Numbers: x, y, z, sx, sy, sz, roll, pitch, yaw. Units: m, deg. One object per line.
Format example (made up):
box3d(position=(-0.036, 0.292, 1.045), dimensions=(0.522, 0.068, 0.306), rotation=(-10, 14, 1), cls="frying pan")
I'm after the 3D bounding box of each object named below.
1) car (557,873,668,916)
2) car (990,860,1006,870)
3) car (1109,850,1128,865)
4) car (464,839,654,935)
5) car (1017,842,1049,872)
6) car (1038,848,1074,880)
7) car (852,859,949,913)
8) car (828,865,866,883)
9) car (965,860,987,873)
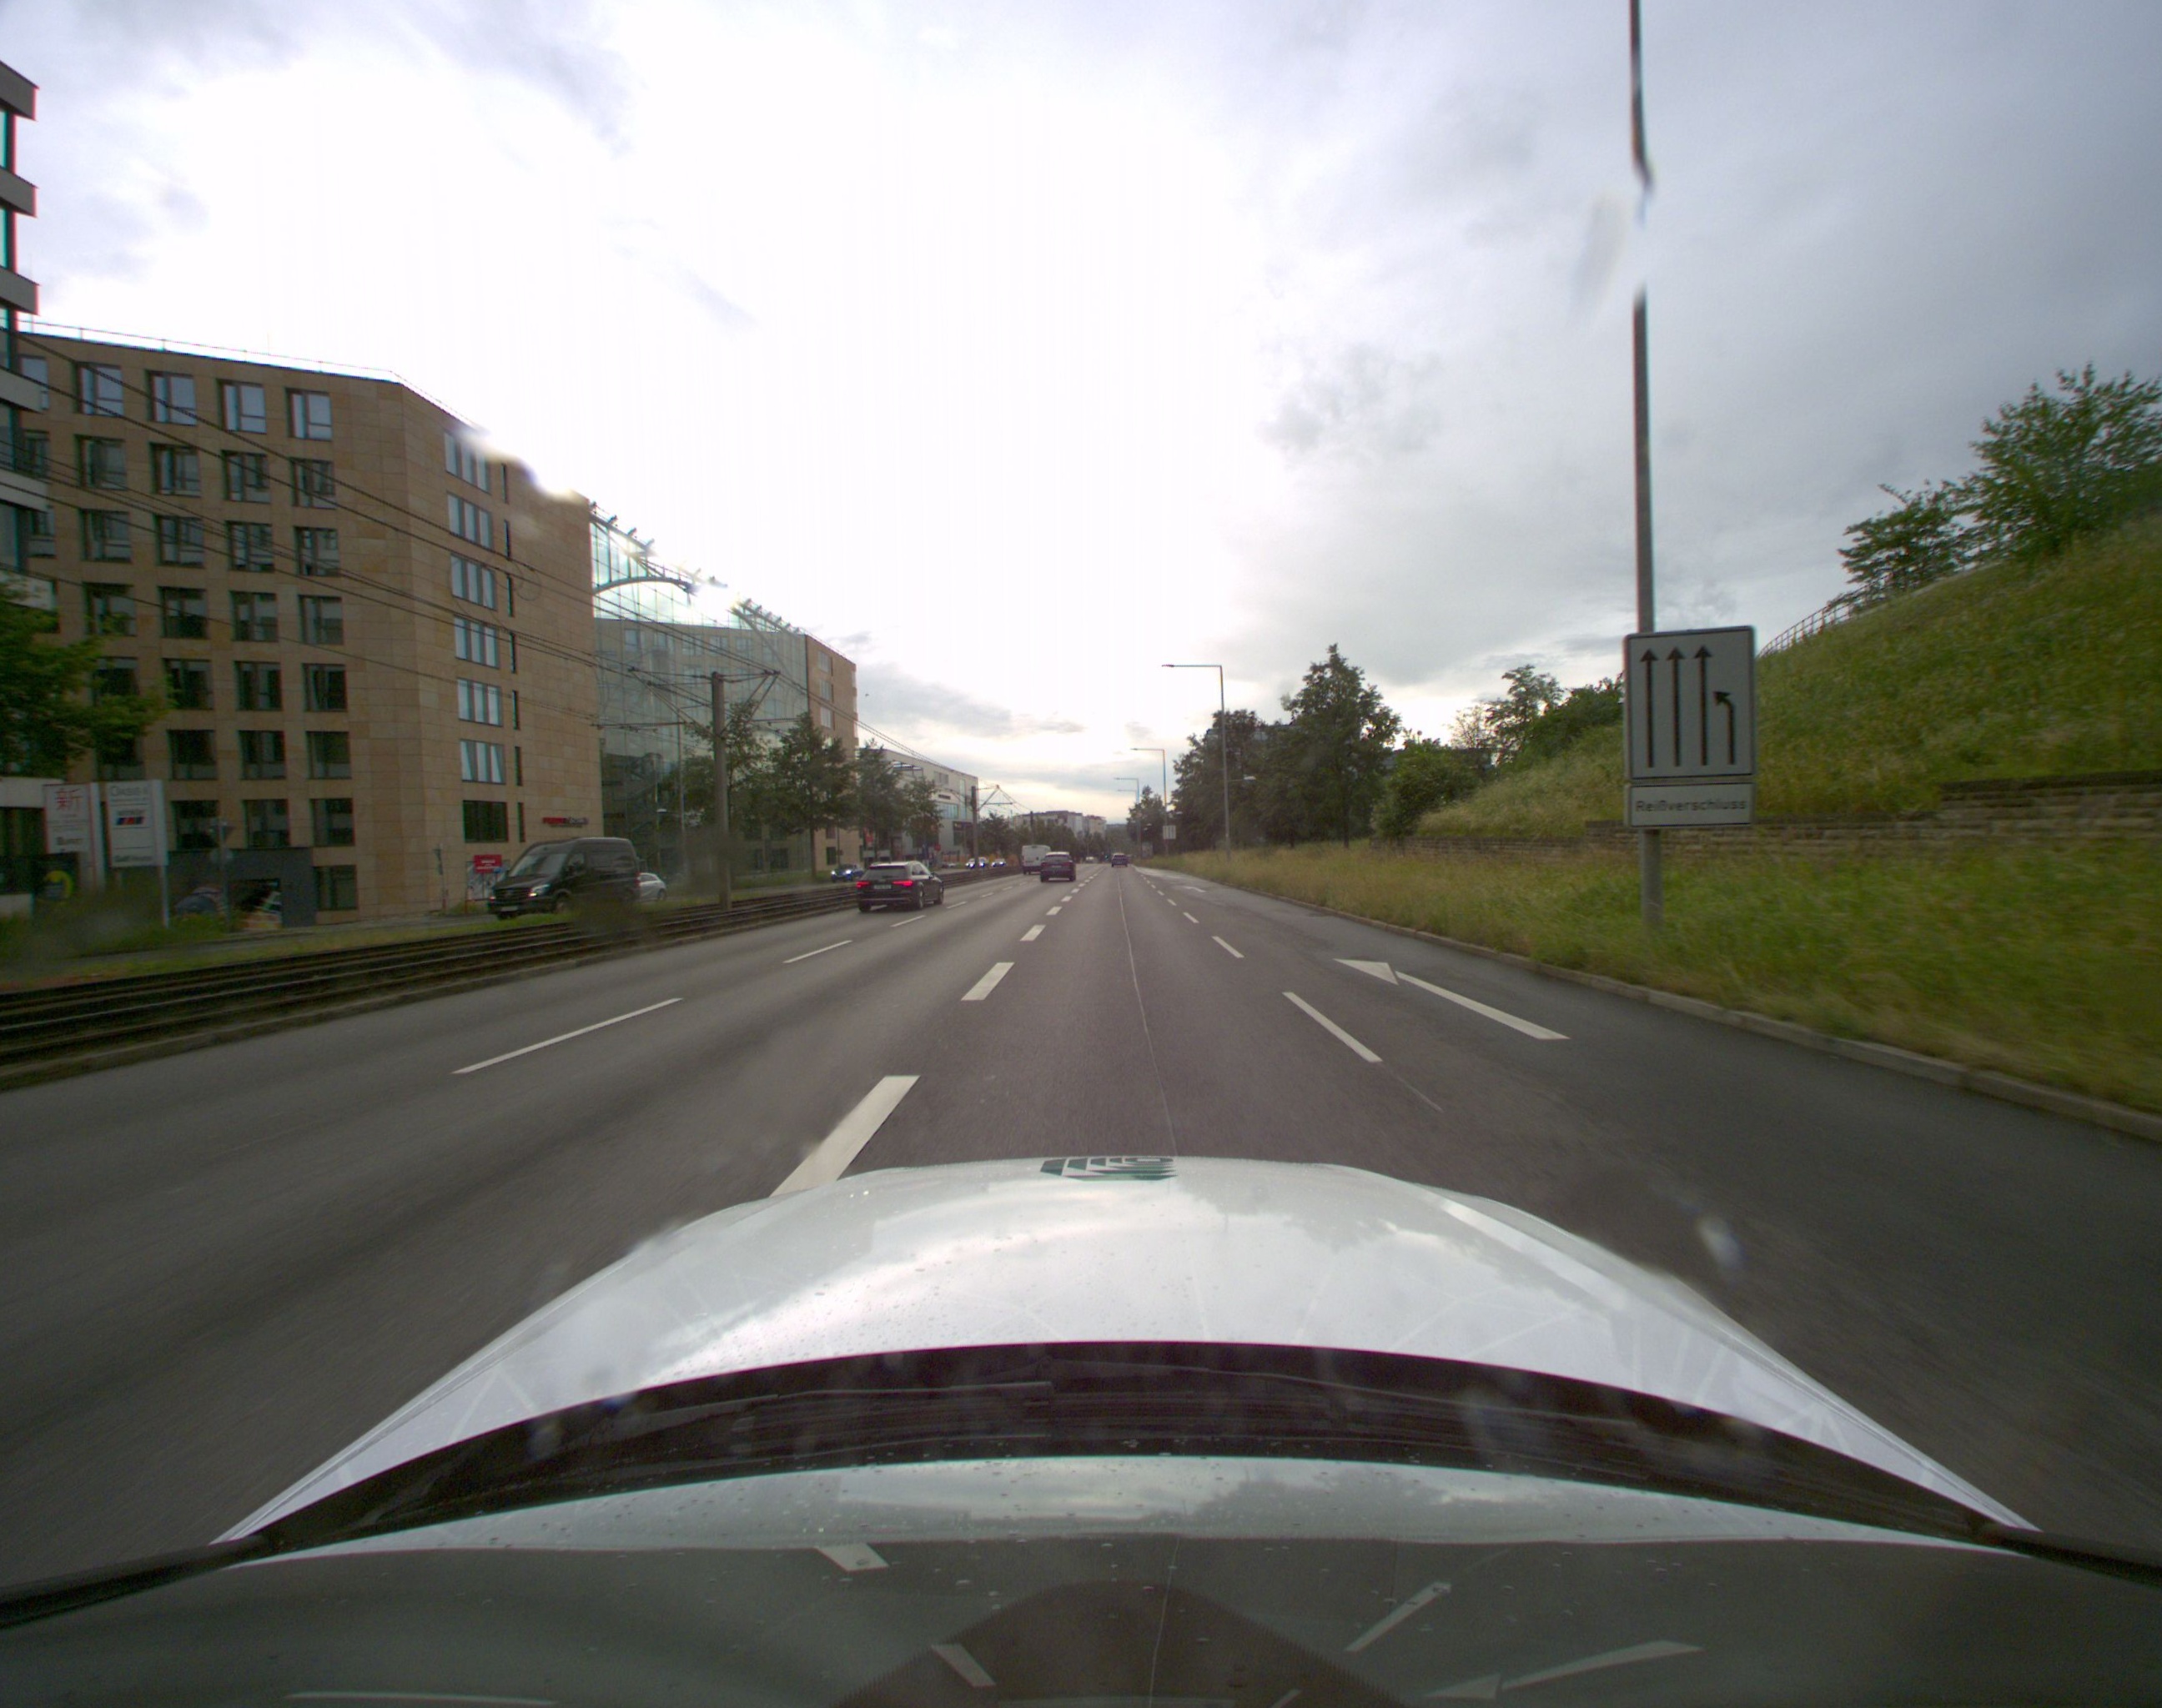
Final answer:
box3d(position=(-19.513, 1.628, 34.170), dimensions=(1.753, 1.533, 4.818), rotation=(-1, 0, 1), cls="car")
box3d(position=(-13.672, 1.822, 134.103), dimensions=(1.833, 1.486, 4.657), rotation=(-5, 0, 3), cls="car")
box3d(position=(4.167, 0.394, 90.598), dimensions=(1.784, 1.591, 3.998), rotation=(-3, -1, -1), cls="car")
box3d(position=(-16.963, 0.993, 26.959), dimensions=(2.373, 2.817, 5.616), rotation=(-1, 0, 3), cls="car")
box3d(position=(-3.806, 0.258, 64.749), dimensions=(2.261, 2.285, 4.758), rotation=(-1, 0, 0), cls="car")
box3d(position=(-1.358, 0.558, 46.183), dimensions=(1.917, 1.710, 4.096), rotation=(-1, 0, -1), cls="car")
box3d(position=(-5.349, 0.894, 24.838), dimensions=(1.779, 1.413, 4.807), rotation=(-1, 0, 1), cls="car")
box3d(position=(-19.702, 1.667, 68.635), dimensions=(1.833, 1.454, 4.027), rotation=(-1, -2, 3), cls="car")
box3d(position=(-12.569, 1.463, 97.351), dimensions=(1.764, 1.502, 4.204), rotation=(-1, -2, 5), cls="car")
